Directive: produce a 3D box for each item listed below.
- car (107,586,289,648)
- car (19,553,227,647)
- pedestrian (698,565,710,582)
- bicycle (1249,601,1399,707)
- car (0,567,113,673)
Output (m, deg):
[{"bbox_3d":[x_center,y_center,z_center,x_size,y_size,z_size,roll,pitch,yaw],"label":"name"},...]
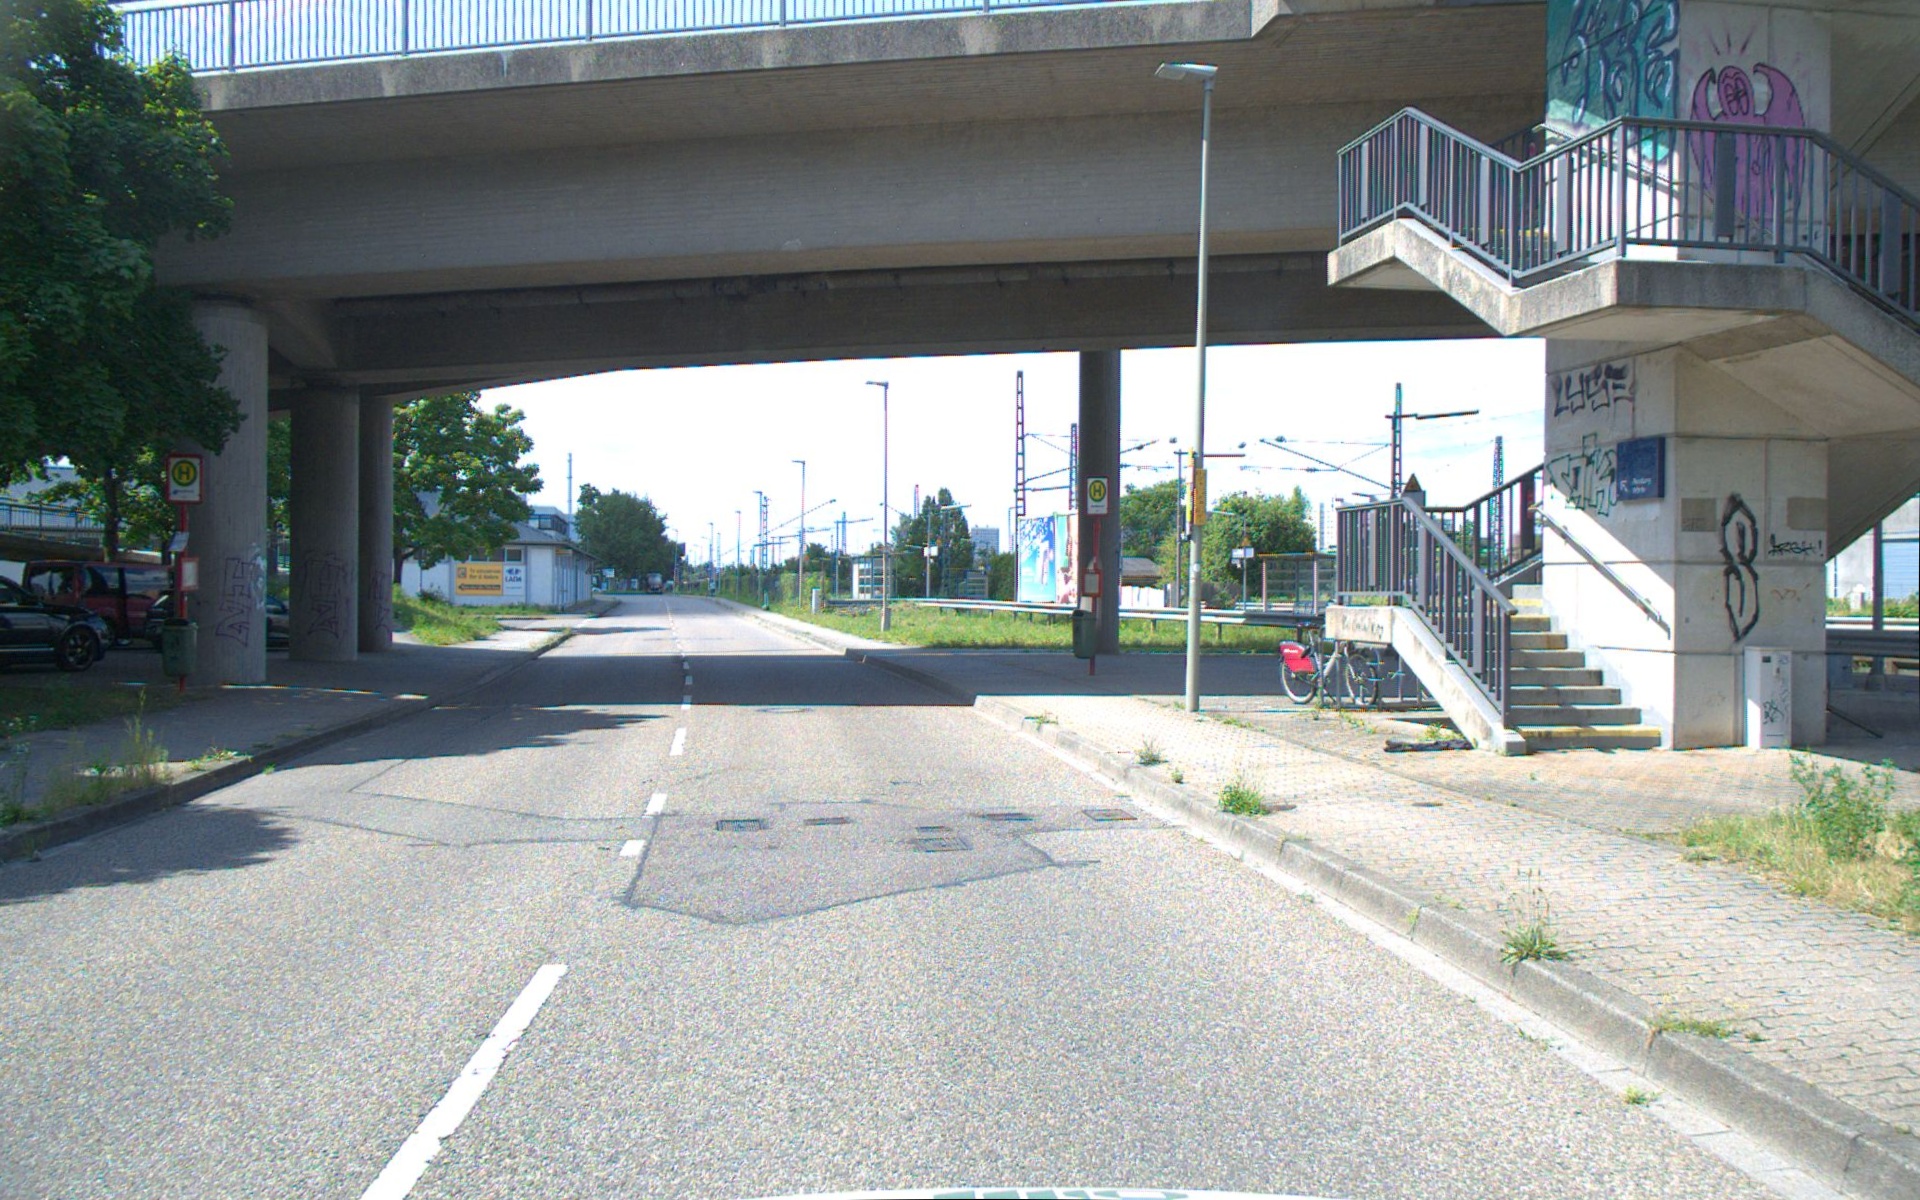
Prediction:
[{"bbox_3d":[-16.989,0.358,37.015,1.654,1.307,3.447,0,0,27],"label":"car"},{"bbox_3d":[-19.327,-0.002,38.336,1.903,2.049,3.953,0,0,27],"label":"car"},{"bbox_3d":[-31.205,-3.263,201.634,0.835,2.048,1.054,2,1,39],"label":"pedestrian"},{"bbox_3d":[4.163,0.585,19.105,0.633,1.127,2.179,0,0,-19],"label":"bicycle"},{"bbox_3d":[-15.710,0.314,25.941,1.643,1.658,4.578,0,0,16],"label":"car"}]
